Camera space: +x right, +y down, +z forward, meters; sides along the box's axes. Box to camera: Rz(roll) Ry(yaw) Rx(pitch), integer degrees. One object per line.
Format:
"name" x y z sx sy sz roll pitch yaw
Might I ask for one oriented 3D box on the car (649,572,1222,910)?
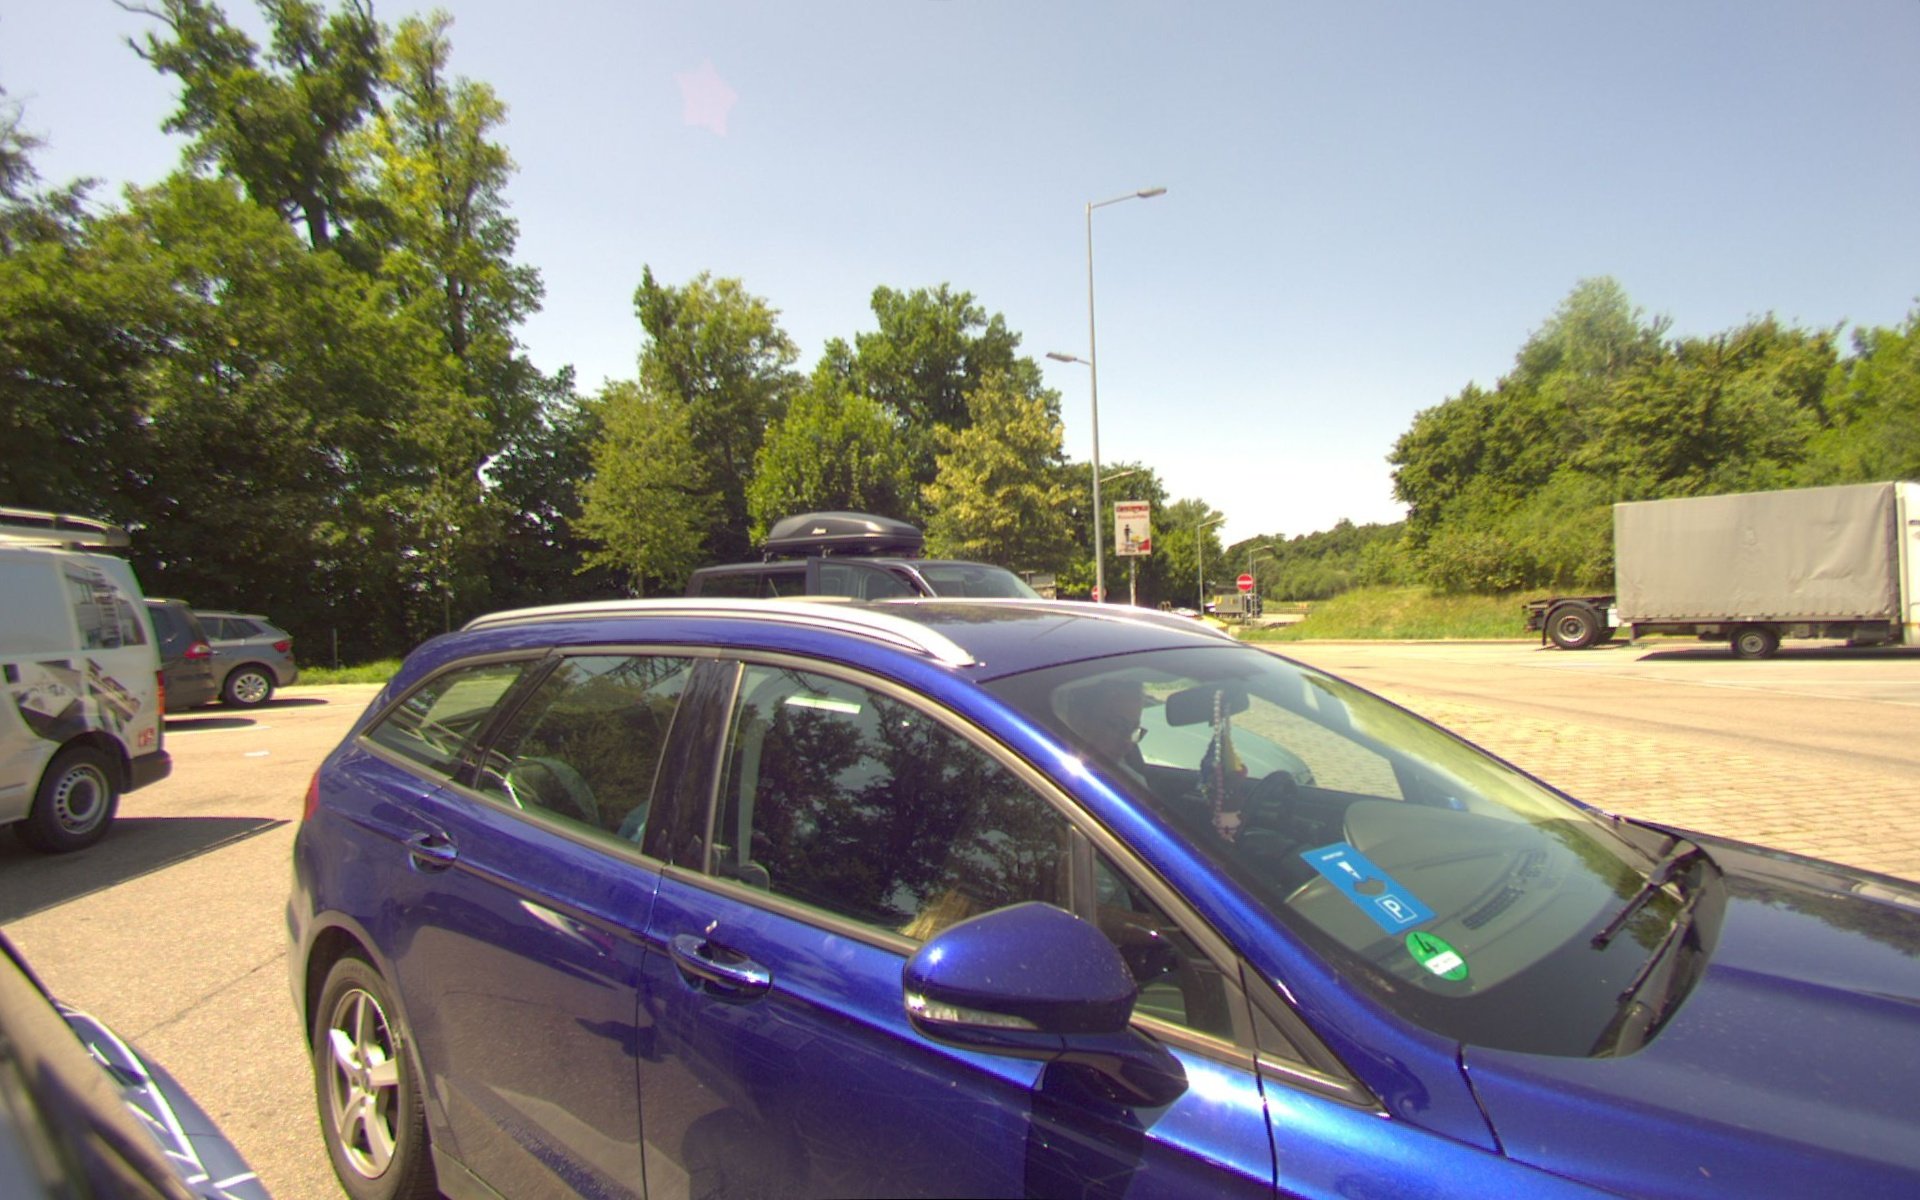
"car" -0.287 0.610 5.652 3.112 1.370 1.326 -2 -1 41

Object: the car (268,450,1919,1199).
"car" 0.264 0.647 2.059 4.411 1.429 1.721 -2 -1 41

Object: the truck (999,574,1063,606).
"truck" 3.418 -0.465 48.794 2.866 1.386 1.158 -2 -1 22

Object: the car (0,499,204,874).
"car" -6.255 0.477 4.691 1.816 2.121 5.440 0 -1 -5

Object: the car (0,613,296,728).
"car" -12.537 0.992 15.683 3.535 1.513 1.708 -1 0 -42

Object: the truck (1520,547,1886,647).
"truck" 16.974 0.040 23.543 6.613 2.029 1.973 -2 -1 41

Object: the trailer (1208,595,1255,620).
"trailer" 46.902 1.337 175.317 2.459 4.009 14.765 0 -1 -7

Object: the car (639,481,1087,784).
"car" -1.036 0.312 9.694 4.076 2.336 1.767 -2 -1 35

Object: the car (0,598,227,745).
"car" -11.600 0.849 12.589 1.755 1.701 3.798 -2 -1 45

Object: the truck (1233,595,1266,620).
"truck" 47.918 1.327 167.601 2.459 4.009 7.317 0 -1 -7

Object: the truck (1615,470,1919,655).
"truck" 16.654 -0.631 18.788 7.253 3.175 2.148 -2 -1 41
